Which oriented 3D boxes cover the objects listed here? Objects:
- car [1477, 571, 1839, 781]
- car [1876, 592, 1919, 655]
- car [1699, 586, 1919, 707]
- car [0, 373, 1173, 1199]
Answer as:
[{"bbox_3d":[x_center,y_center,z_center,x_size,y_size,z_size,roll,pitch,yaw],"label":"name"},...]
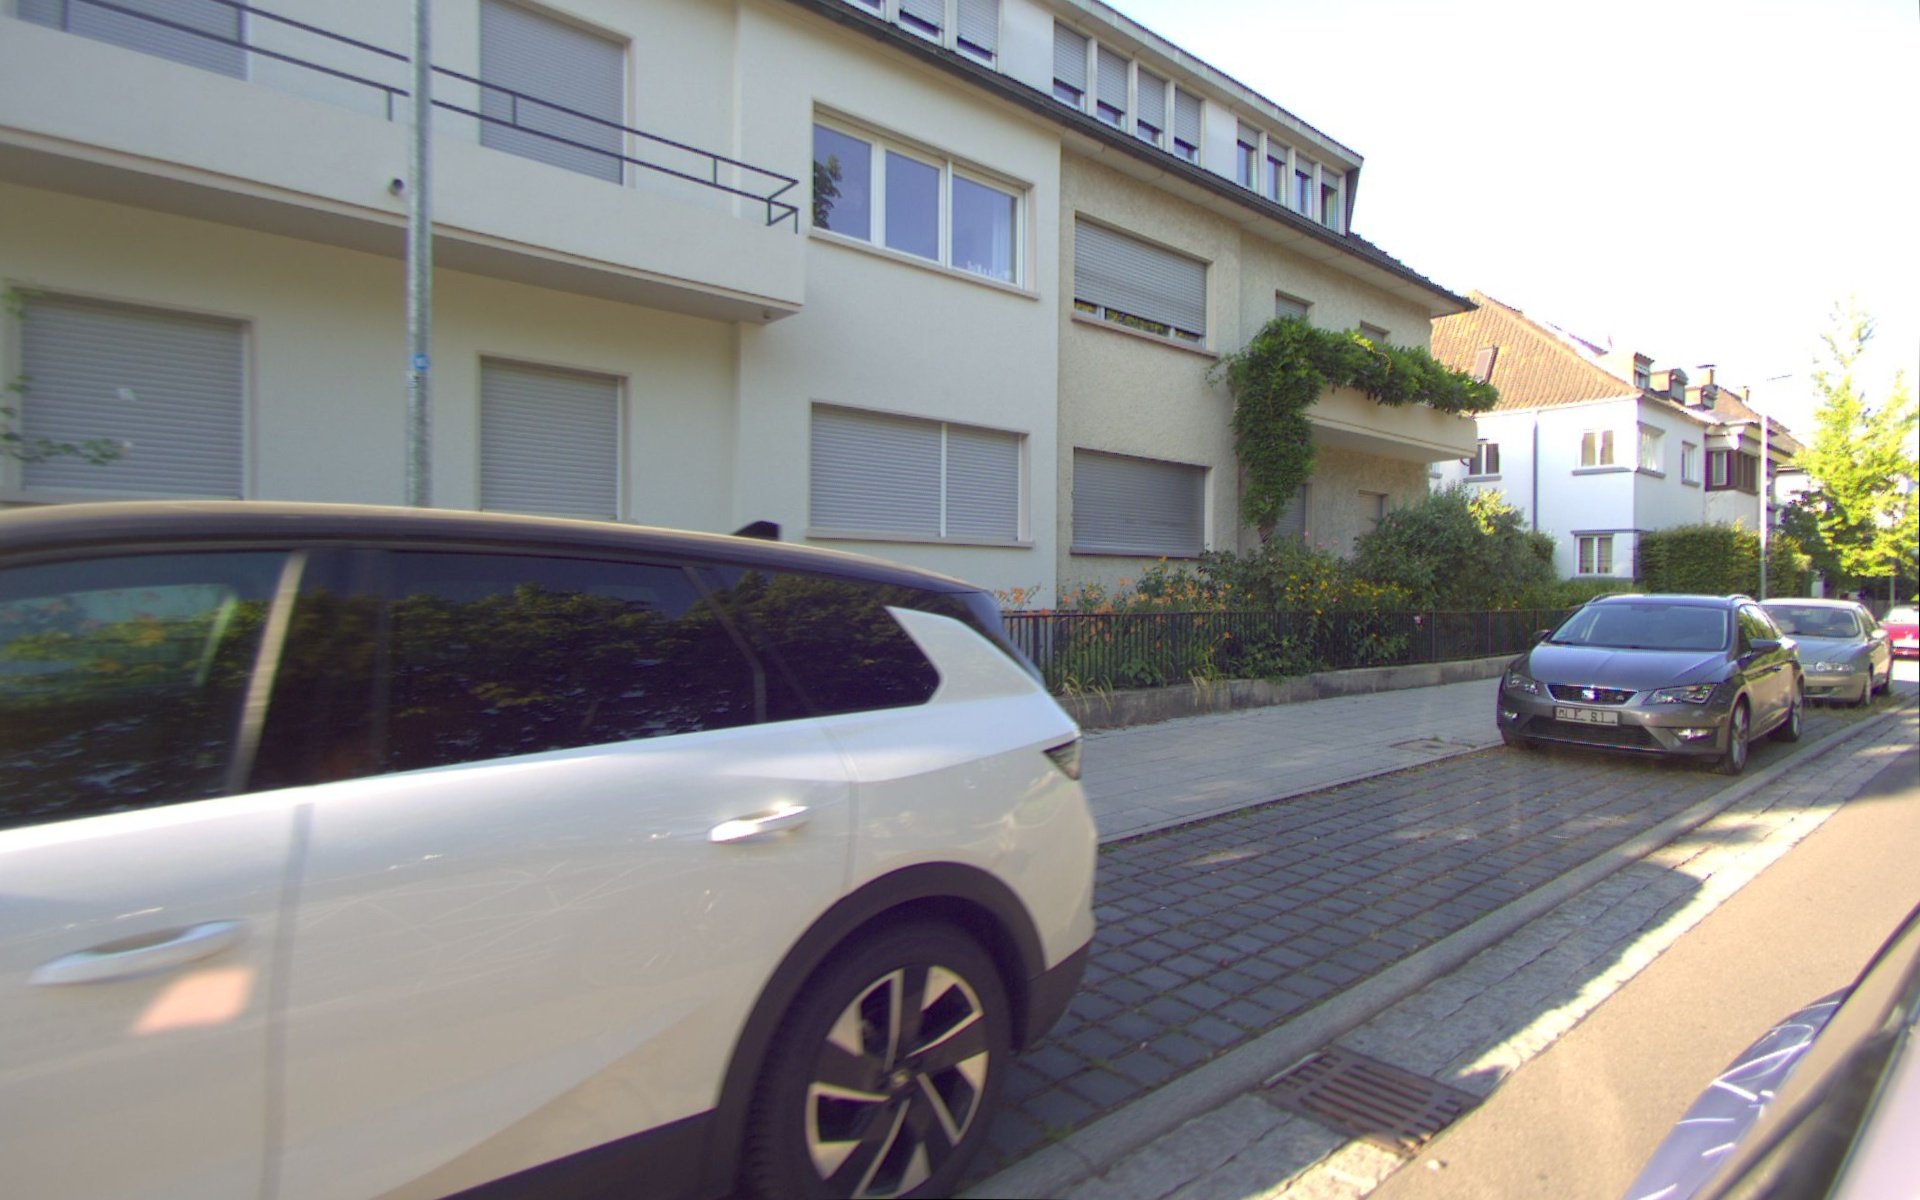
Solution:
[{"bbox_3d":[6.665,0.515,9.496,4.121,1.512,1.797,-1,3,-41],"label":"car"},{"bbox_3d":[22.506,0.513,23.284,3.813,1.273,1.701,-2,2,-41],"label":"car"},{"bbox_3d":[12.057,0.534,14.243,4.007,1.397,1.797,-1,3,-41],"label":"car"},{"bbox_3d":[-1.778,0.541,2.050,4.493,1.729,1.910,0,2,-39],"label":"car"}]
